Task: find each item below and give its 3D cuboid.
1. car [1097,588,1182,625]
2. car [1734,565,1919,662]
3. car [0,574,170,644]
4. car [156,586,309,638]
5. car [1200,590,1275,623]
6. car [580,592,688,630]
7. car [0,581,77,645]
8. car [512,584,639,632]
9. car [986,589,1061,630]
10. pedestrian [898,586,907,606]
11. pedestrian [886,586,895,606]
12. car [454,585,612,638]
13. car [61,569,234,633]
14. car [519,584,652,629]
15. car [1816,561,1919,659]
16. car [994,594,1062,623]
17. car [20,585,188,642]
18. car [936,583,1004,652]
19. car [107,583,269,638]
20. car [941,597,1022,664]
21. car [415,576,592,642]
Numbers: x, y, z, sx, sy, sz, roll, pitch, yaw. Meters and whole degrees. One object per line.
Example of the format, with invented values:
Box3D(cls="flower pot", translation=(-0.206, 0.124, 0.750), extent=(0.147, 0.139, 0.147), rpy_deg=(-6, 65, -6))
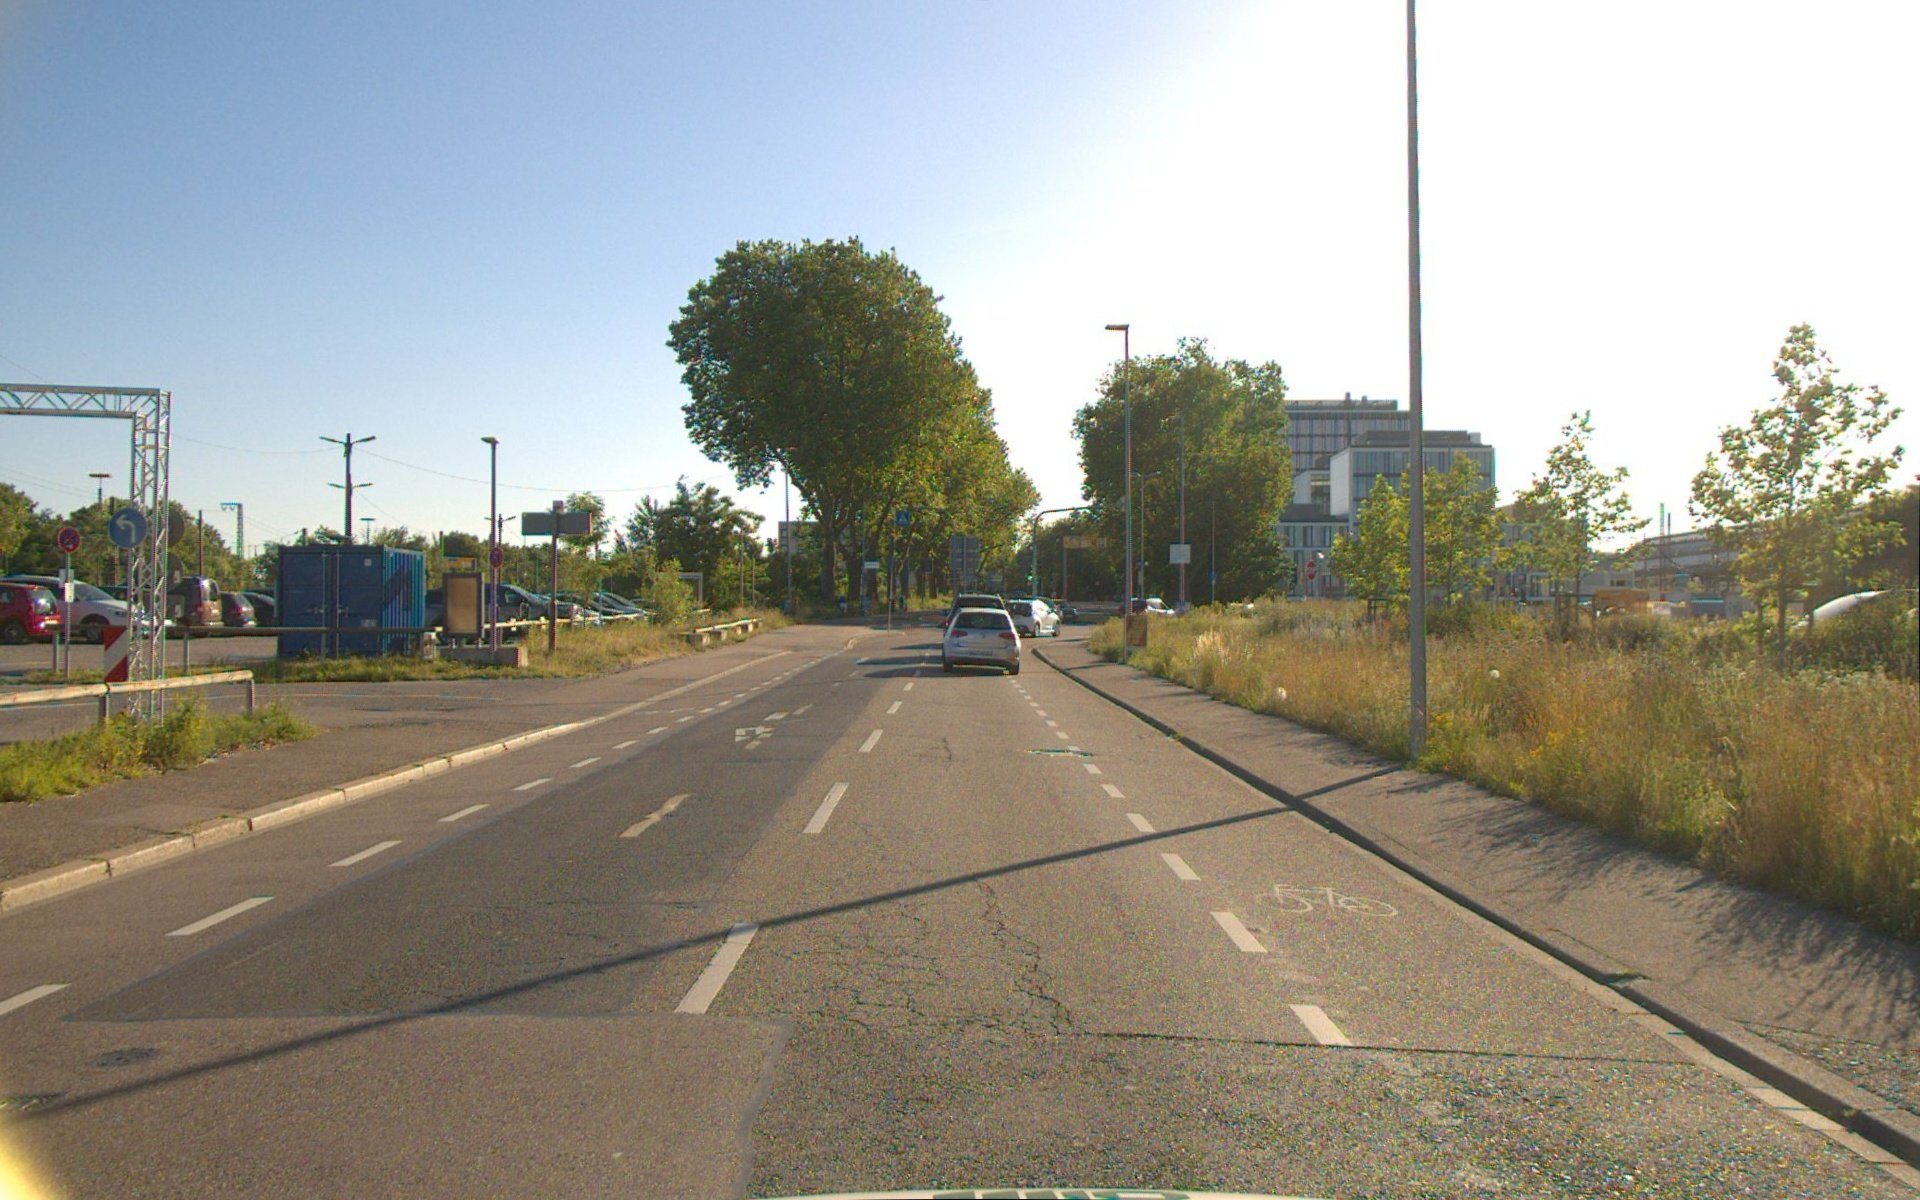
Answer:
Box3D(cls="car", translation=(8.470, 0.294, 77.965), extent=(2.131, 1.713, 3.979), rpy_deg=(1, 0, 40))
Box3D(cls="car", translation=(17.022, 0.261, 31.268), extent=(3.903, 1.736, 1.852), rpy_deg=(1, 0, 3))
Box3D(cls="car", translation=(-23.927, 0.237, 44.352), extent=(4.484, 1.771, 2.059), rpy_deg=(1, 0, 3))
Box3D(cls="car", translation=(-24.271, 0.394, 55.306), extent=(4.234, 1.646, 1.878), rpy_deg=(1, 0, -1))
Box3D(cls="car", translation=(14.931, 0.329, 88.844), extent=(2.133, 1.713, 3.974), rpy_deg=(1, 0, 43))
Box3D(cls="car", translation=(-14.226, 0.472, 72.274), extent=(4.336, 1.585, 1.878), rpy_deg=(1, 0, -1))
Box3D(cls="car", translation=(-24.575, 0.303, 41.484), extent=(3.804, 1.546, 1.878), rpy_deg=(1, 0, -1))
Box3D(cls="car", translation=(-13.485, 0.289, 58.186), extent=(4.005, 1.585, 1.878), rpy_deg=(1, 0, -1))
Box3D(cls="car", translation=(2.629, 0.383, 67.338), extent=(1.859, 1.624, 4.000), rpy_deg=(1, 0, 21))
Box3D(cls="pedestrian", translation=(-4.258, -0.286, 122.115), extent=(0.664, 1.439, 0.684), rpy_deg=(1, 0, 0))
Box3D(cls="pedestrian", translation=(-5.148, -0.297, 122.333), extent=(0.664, 1.439, 0.684), rpy_deg=(1, 0, 0))
Box3D(cls="car", translation=(-13.578, 0.360, 52.766), extent=(4.501, 1.585, 1.999), rpy_deg=(1, 0, -1))
Box3D(cls="car", translation=(-24.534, 0.020, 50.045), extent=(4.234, 1.823, 1.878), rpy_deg=(1, 0, -1))
Box3D(cls="car", translation=(-13.756, 0.234, 60.989), extent=(4.450, 1.585, 1.878), rpy_deg=(1, 0, -1))
Box3D(cls="car", translation=(17.092, 0.187, 28.118), extent=(4.097, 1.608, 1.852), rpy_deg=(1, 0, 3))
Box3D(cls="car", translation=(3.988, 0.485, 98.009), extent=(1.979, 1.624, 3.946), rpy_deg=(1, 0, -38))
Box3D(cls="car", translation=(-24.494, 0.381, 47.410), extent=(3.804, 1.546, 1.878), rpy_deg=(1, 0, -1))
Box3D(cls="car", translation=(0.248, 0.475, 46.527), extent=(1.782, 1.800, 4.629), rpy_deg=(1, 0, 0))
Box3D(cls="car", translation=(-24.589, 0.327, 52.776), extent=(4.234, 1.646, 1.878), rpy_deg=(1, 0, -1))
Box3D(cls="car", translation=(0.475, 0.671, 38.317), extent=(1.753, 1.445, 4.000), rpy_deg=(1, 0, 0))
Box3D(cls="car", translation=(-13.695, 0.260, 49.782), extent=(4.747, 1.867, 1.999), rpy_deg=(1, 0, -1))
